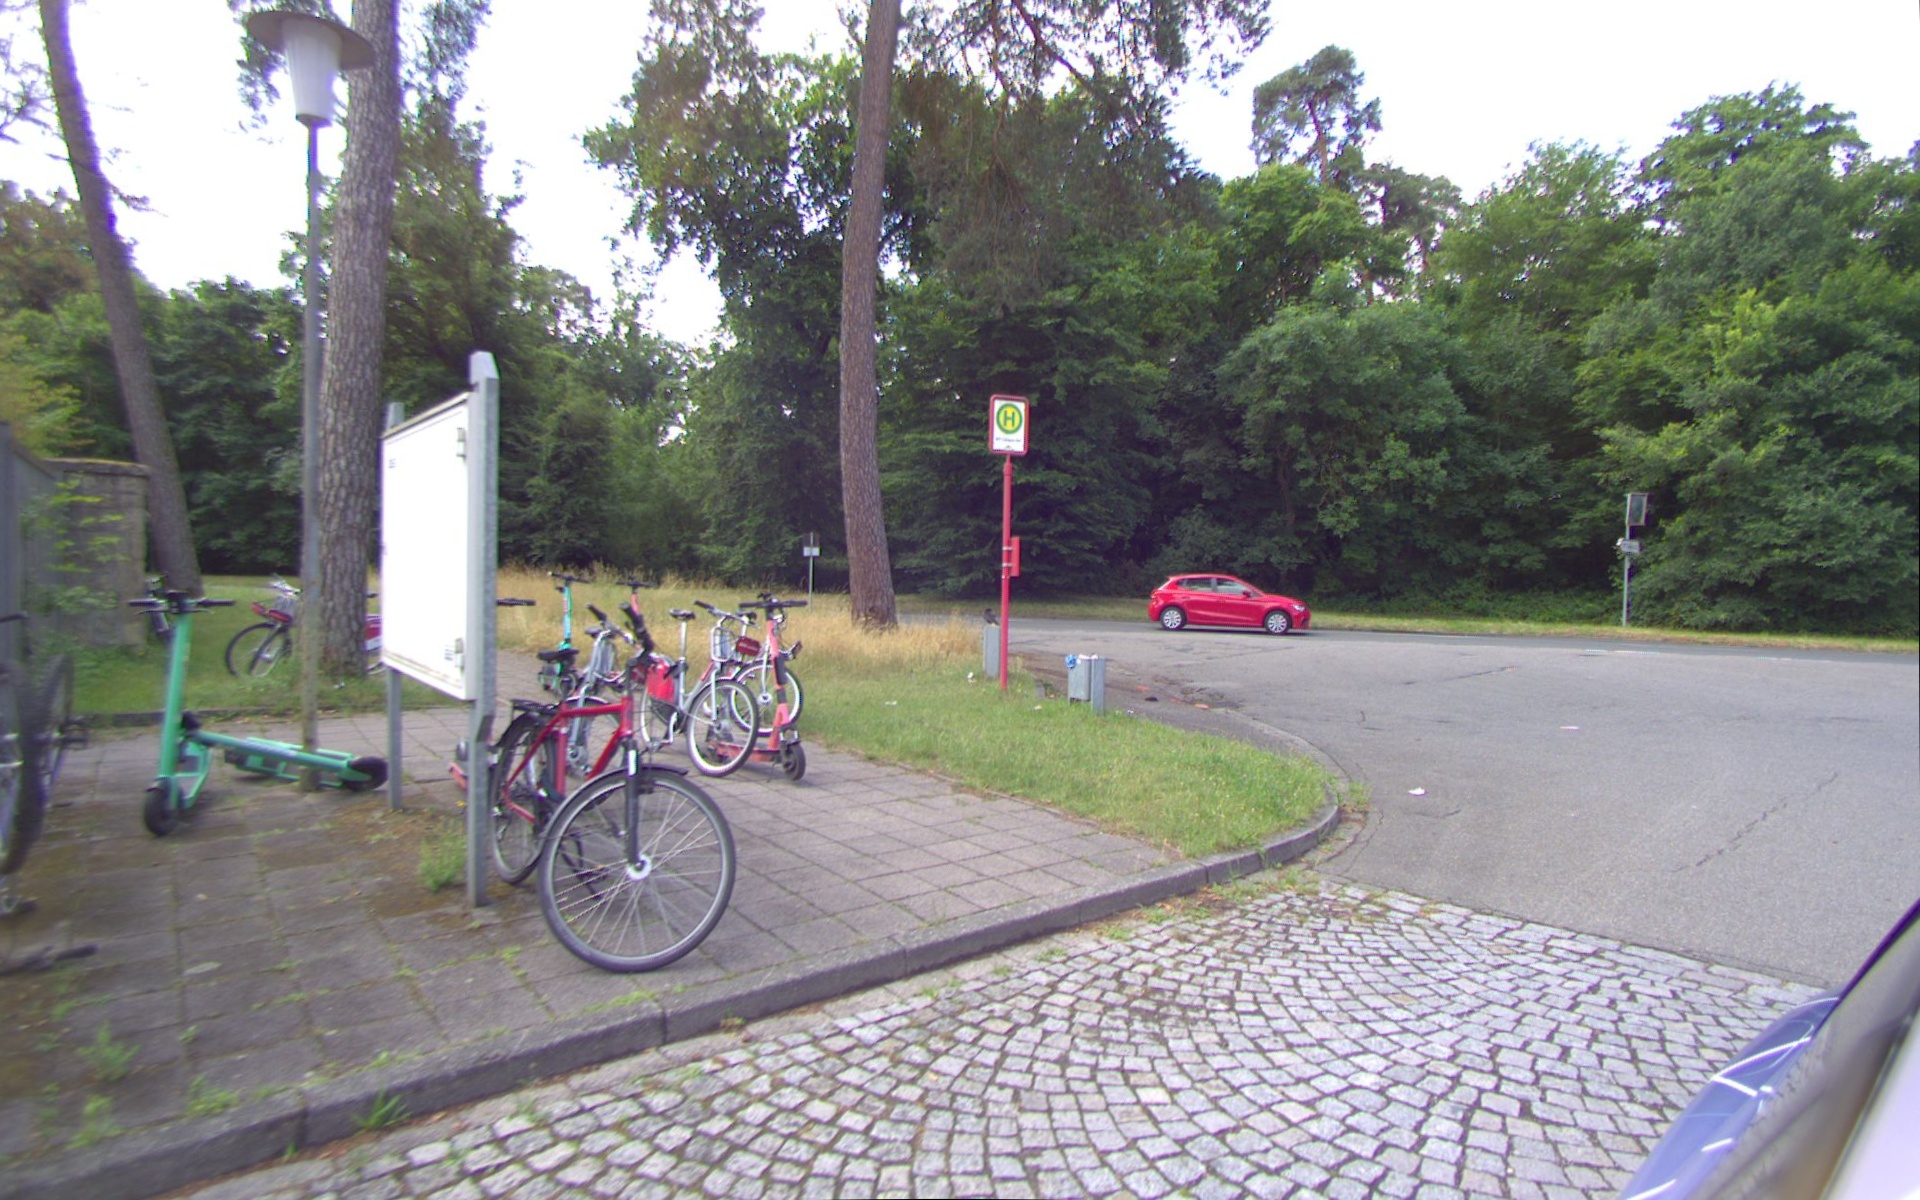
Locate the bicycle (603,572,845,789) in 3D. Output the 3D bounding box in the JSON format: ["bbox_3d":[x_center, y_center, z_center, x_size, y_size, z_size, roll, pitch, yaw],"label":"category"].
[{"bbox_3d":[-1.717,0.454,7.061,0.625,1.255,2.169,-1,3,-44],"label":"bicycle"}]

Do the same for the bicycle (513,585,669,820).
[{"bbox_3d":[-2.298,0.539,6.182,0.610,1.177,1.613,2,2,-29],"label":"bicycle"}]

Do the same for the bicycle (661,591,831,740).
[{"bbox_3d":[-1.910,0.510,8.872,0.728,1.098,1.681,-2,4,-41],"label":"bicycle"}]

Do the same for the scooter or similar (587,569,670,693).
[{"bbox_3d":[-3.643,0.311,11.082,0.431,1.242,1.088,-2,5,-45],"label":"scooter or similar"}]

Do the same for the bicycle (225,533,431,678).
[{"bbox_3d":[-6.756,0.045,10.909,0.585,1.435,1.776,2,1,34],"label":"bicycle"}]

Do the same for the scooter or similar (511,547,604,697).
[{"bbox_3d":[-4.149,0.189,10.390,0.521,1.434,1.251,0,2,-39],"label":"scooter or similar"}]

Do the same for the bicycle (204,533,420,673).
[{"bbox_3d":[-7.196,0.019,11.338,0.574,1.435,1.958,2,1,34],"label":"bicycle"}]

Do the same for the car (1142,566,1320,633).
[{"bbox_3d":[6.845,-0.056,25.628,4.148,1.482,1.989,2,2,18],"label":"car"}]

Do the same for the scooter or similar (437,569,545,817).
[{"bbox_3d":[-2.766,0.471,5.915,0.379,1.261,1.285,1,2,-33],"label":"scooter or similar"}]

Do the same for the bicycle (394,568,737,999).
[{"bbox_3d":[-1.643,0.554,4.026,0.662,1.293,1.737,-1,4,-43],"label":"bicycle"}]

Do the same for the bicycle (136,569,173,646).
[{"bbox_3d":[-11.844,0.080,14.866,0.367,1.029,1.951,0,2,-40],"label":"bicycle"}]

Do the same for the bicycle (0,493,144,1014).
[{"bbox_3d":[-3.254,0.377,3.491,0.506,1.434,1.908,-1,3,-34],"label":"bicycle"}]

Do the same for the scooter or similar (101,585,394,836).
[{"bbox_3d":[-3.735,0.509,5.405,0.433,1.164,1.243,2,1,22],"label":"scooter or similar"}]
